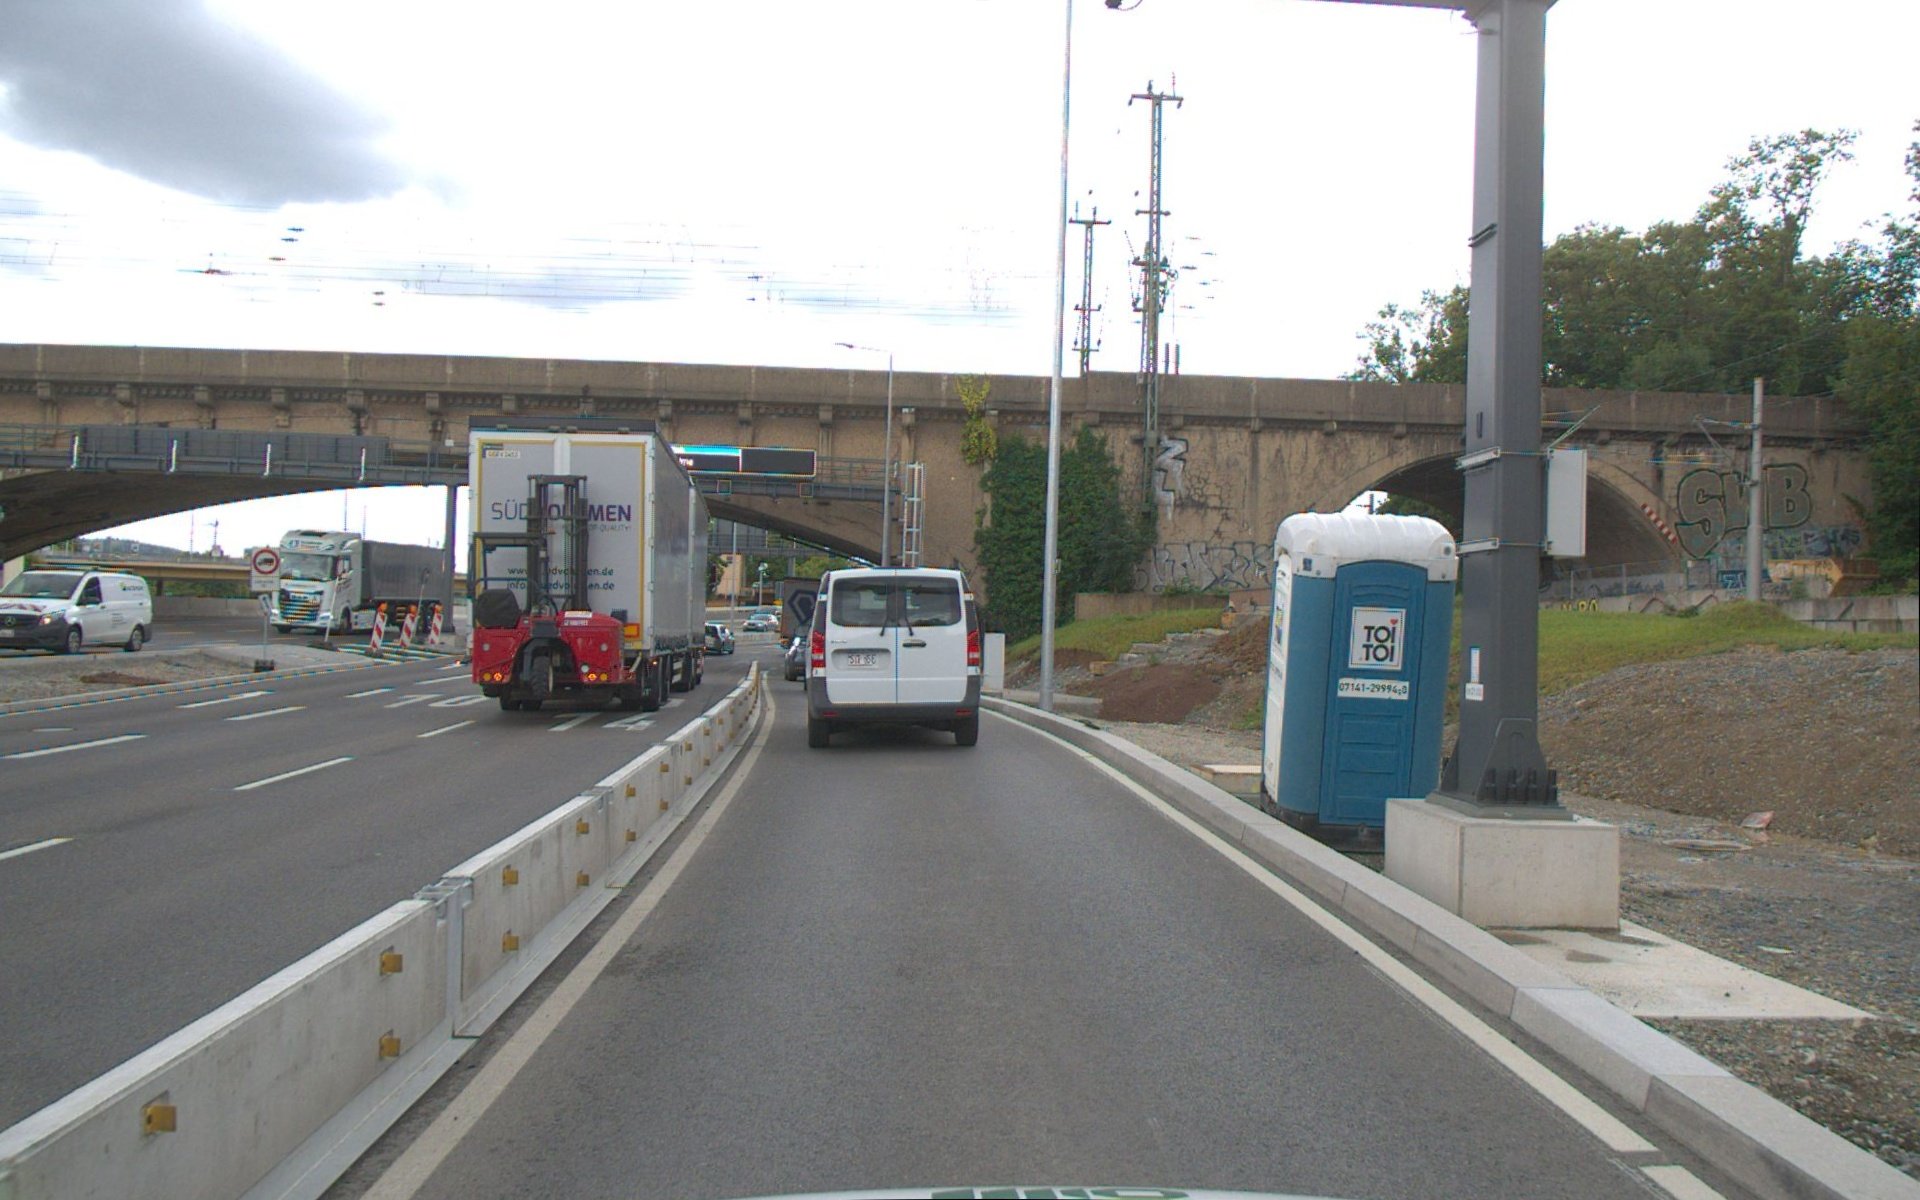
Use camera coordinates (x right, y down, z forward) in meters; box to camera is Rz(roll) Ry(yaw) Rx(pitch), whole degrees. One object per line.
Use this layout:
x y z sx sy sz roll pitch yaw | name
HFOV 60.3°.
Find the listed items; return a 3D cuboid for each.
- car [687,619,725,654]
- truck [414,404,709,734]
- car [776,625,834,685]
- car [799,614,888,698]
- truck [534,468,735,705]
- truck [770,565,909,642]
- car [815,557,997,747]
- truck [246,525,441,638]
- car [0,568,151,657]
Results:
-12.273 1.750 79.899 1.725 1.579 3.992 1 0 -9 | car
-5.854 -0.347 26.219 2.861 4.087 10.189 3 -1 -5 | truck
-4.290 1.494 45.907 1.472 1.494 3.395 2 0 -5 | car
-2.420 1.139 35.021 1.714 1.654 3.843 1 -1 -2 | car
-6.789 -0.204 36.248 2.929 4.249 11.228 3 -1 -5 | truck
-6.621 0.350 95.298 3.246 3.876 16.605 3 -1 12 | truck
-0.729 0.585 19.255 1.839 1.924 4.748 1 -1 -5 | car
-25.005 -0.695 68.238 2.840 4.133 13.987 1 0 -1 | truck
-19.768 0.261 36.893 1.790 1.838 3.797 1 0 -5 | car
